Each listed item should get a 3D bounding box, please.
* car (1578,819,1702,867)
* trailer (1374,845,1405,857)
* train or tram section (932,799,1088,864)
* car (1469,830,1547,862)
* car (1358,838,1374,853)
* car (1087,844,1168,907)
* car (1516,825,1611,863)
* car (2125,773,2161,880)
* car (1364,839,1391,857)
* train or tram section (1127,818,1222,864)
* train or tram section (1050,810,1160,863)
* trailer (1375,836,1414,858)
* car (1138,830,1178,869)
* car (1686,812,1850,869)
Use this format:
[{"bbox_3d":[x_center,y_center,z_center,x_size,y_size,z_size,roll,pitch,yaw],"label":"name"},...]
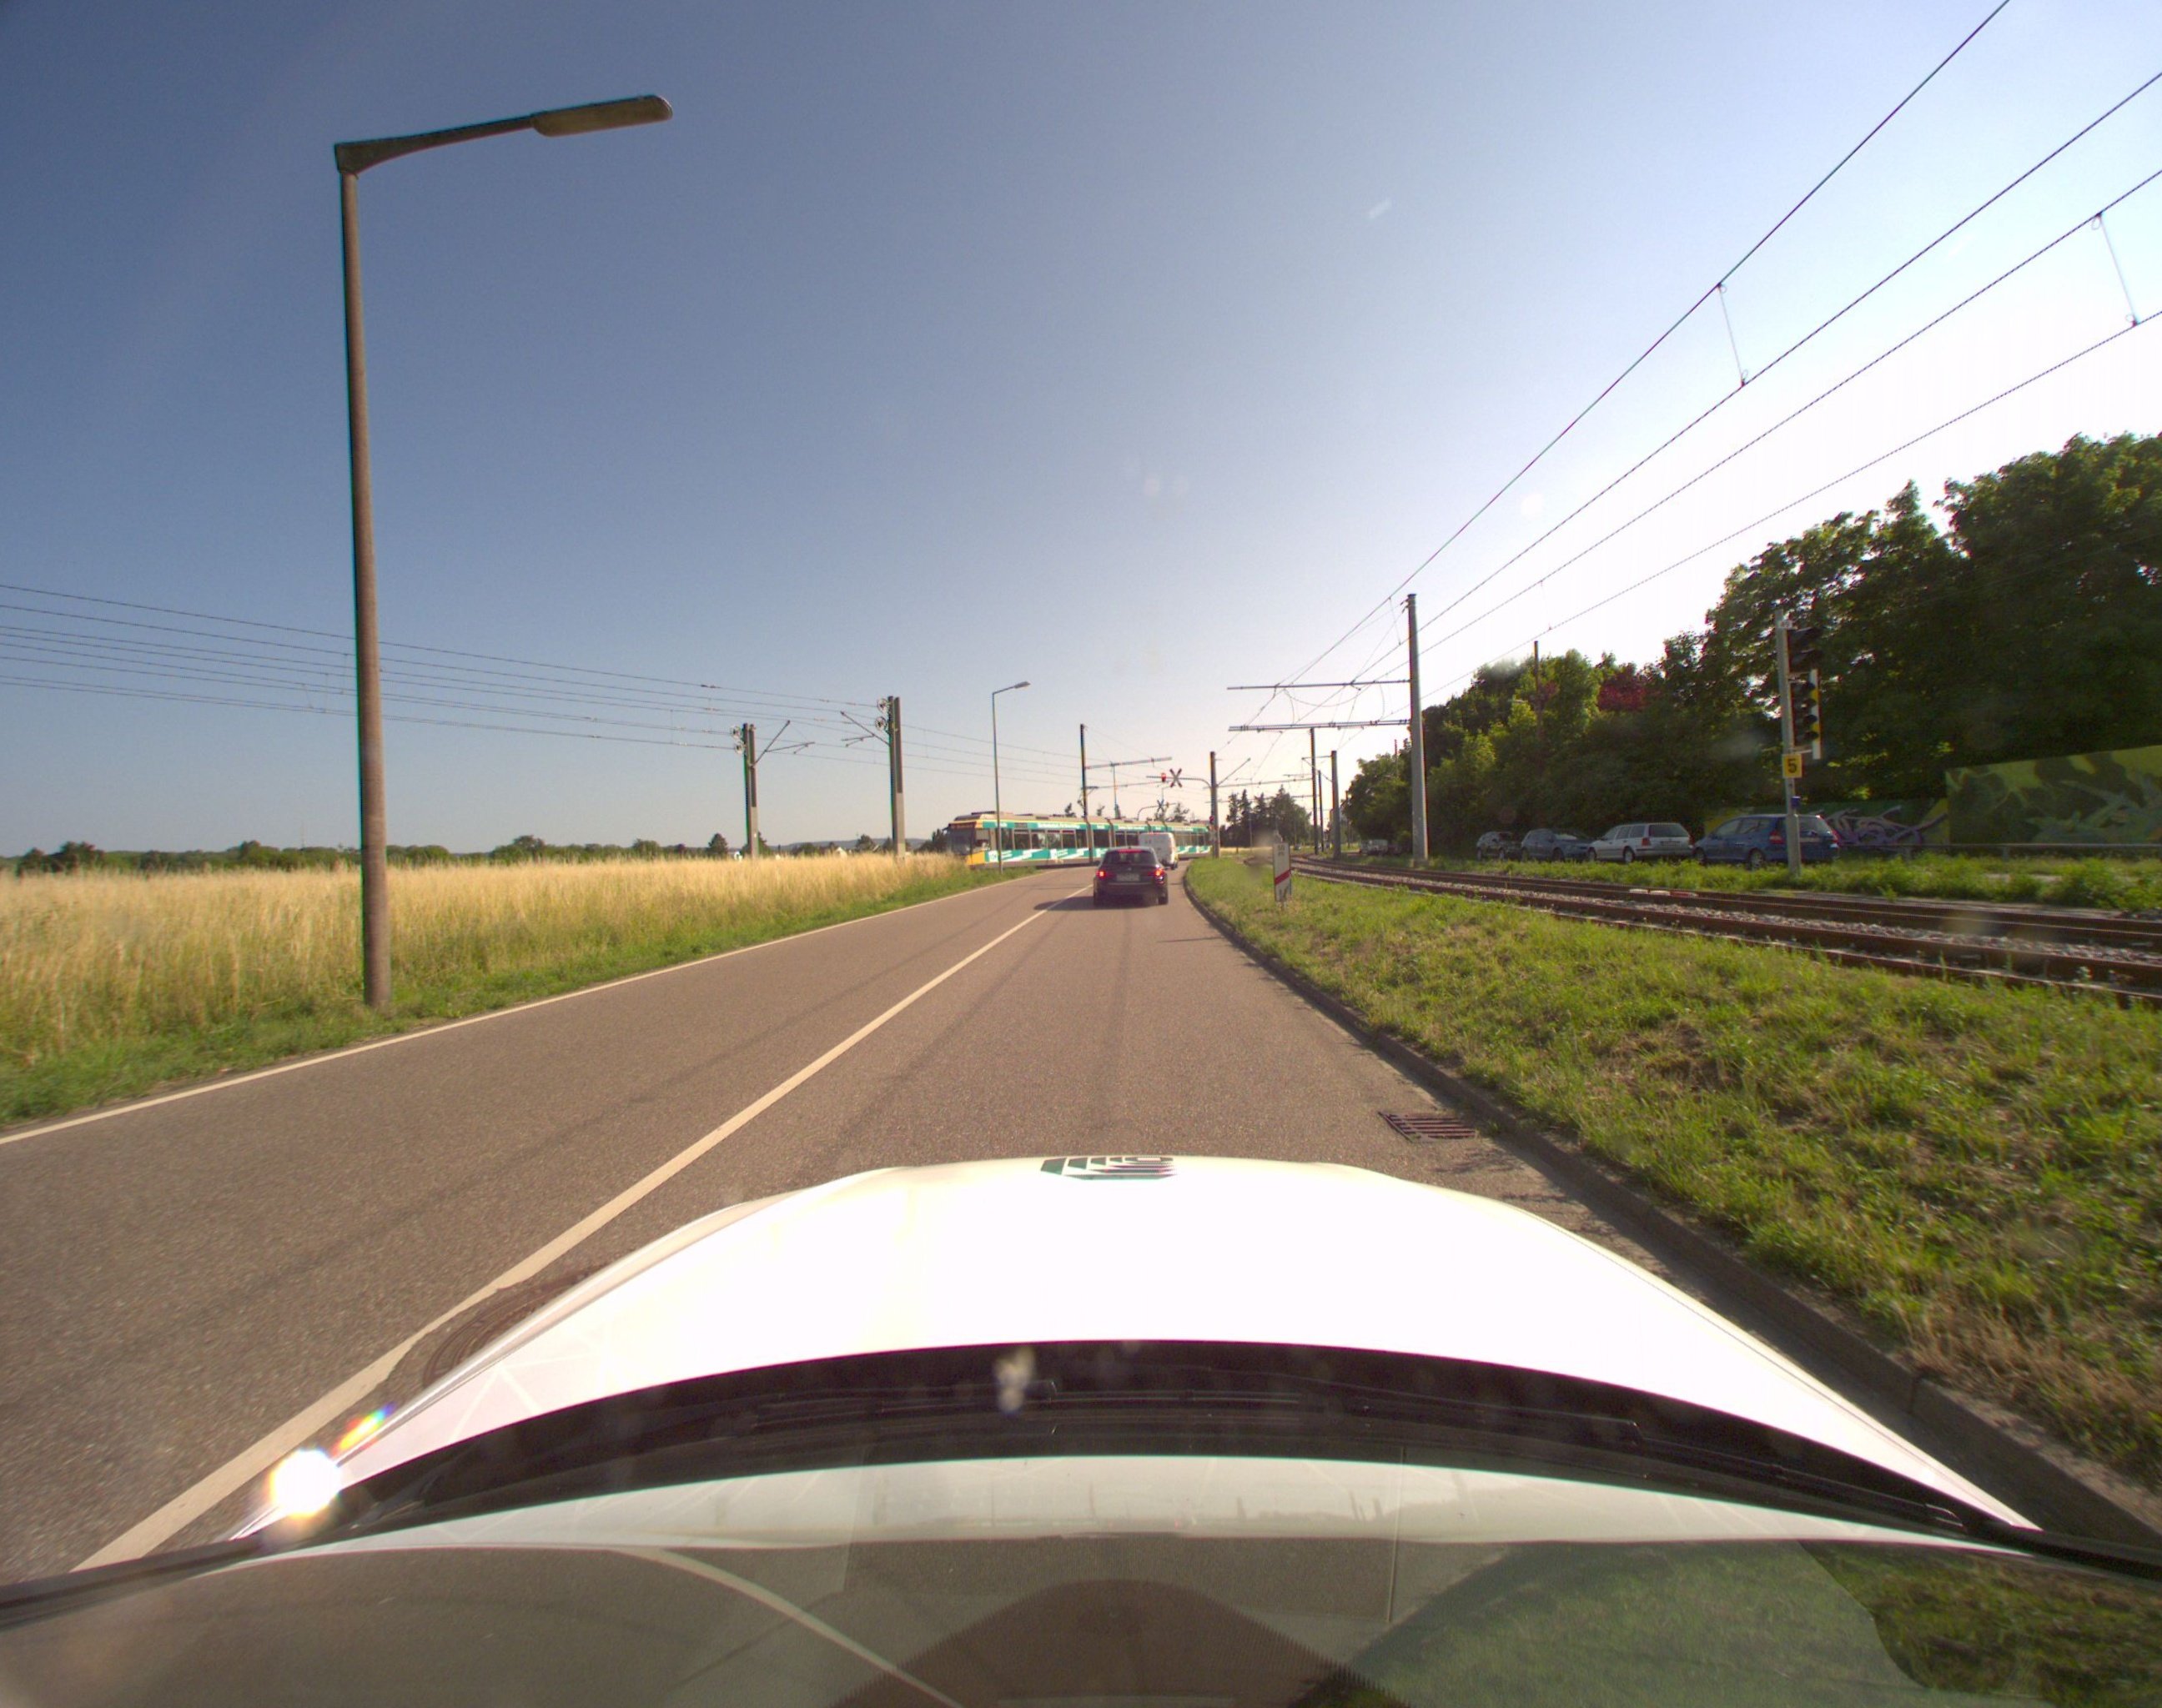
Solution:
[{"bbox_3d":[19.299,-0.394,28.364,1.700,1.465,4.399,-2,0,7],"label":"car"},{"bbox_3d":[23.874,-0.243,63.107,1.719,0.939,3.742,1,1,13],"label":"trailer"},{"bbox_3d":[-3.889,-1.193,49.715,2.922,3.484,12.241,-1,0,30],"label":"train or tram section"},{"bbox_3d":[19.935,-0.375,38.218,1.615,1.410,4.528,-1,0,5],"label":"car"},{"bbox_3d":[40.082,-1.192,114.477,1.976,2.004,5.094,1,1,22],"label":"car"},{"bbox_3d":[1.302,0.485,21.657,1.860,1.452,4.750,-1,1,5],"label":"car"},{"bbox_3d":[19.484,-0.393,33.099,1.479,1.401,4.152,-2,0,2],"label":"car"},{"bbox_3d":[17.098,-0.442,10.486,1.517,1.610,4.484,-3,0,0],"label":"car"},{"bbox_3d":[24.741,-0.542,68.083,1.686,1.456,4.901,1,1,16],"label":"car"},{"bbox_3d":[8.583,-0.955,72.017,2.879,3.569,14.348,-1,-1,30],"label":"train or tram section"},{"bbox_3d":[2.099,-1.085,60.412,2.889,3.454,12.239,-1,-1,29],"label":"train or tram section"},{"bbox_3d":[22.736,-0.510,59.201,2.013,1.596,4.275,0,0,13],"label":"trailer"},{"bbox_3d":[4.285,-0.248,44.678,1.846,1.988,5.121,-1,0,9],"label":"car"},{"bbox_3d":[18.679,-0.362,22.396,1.668,1.430,3.921,0,1,9],"label":"car"}]
